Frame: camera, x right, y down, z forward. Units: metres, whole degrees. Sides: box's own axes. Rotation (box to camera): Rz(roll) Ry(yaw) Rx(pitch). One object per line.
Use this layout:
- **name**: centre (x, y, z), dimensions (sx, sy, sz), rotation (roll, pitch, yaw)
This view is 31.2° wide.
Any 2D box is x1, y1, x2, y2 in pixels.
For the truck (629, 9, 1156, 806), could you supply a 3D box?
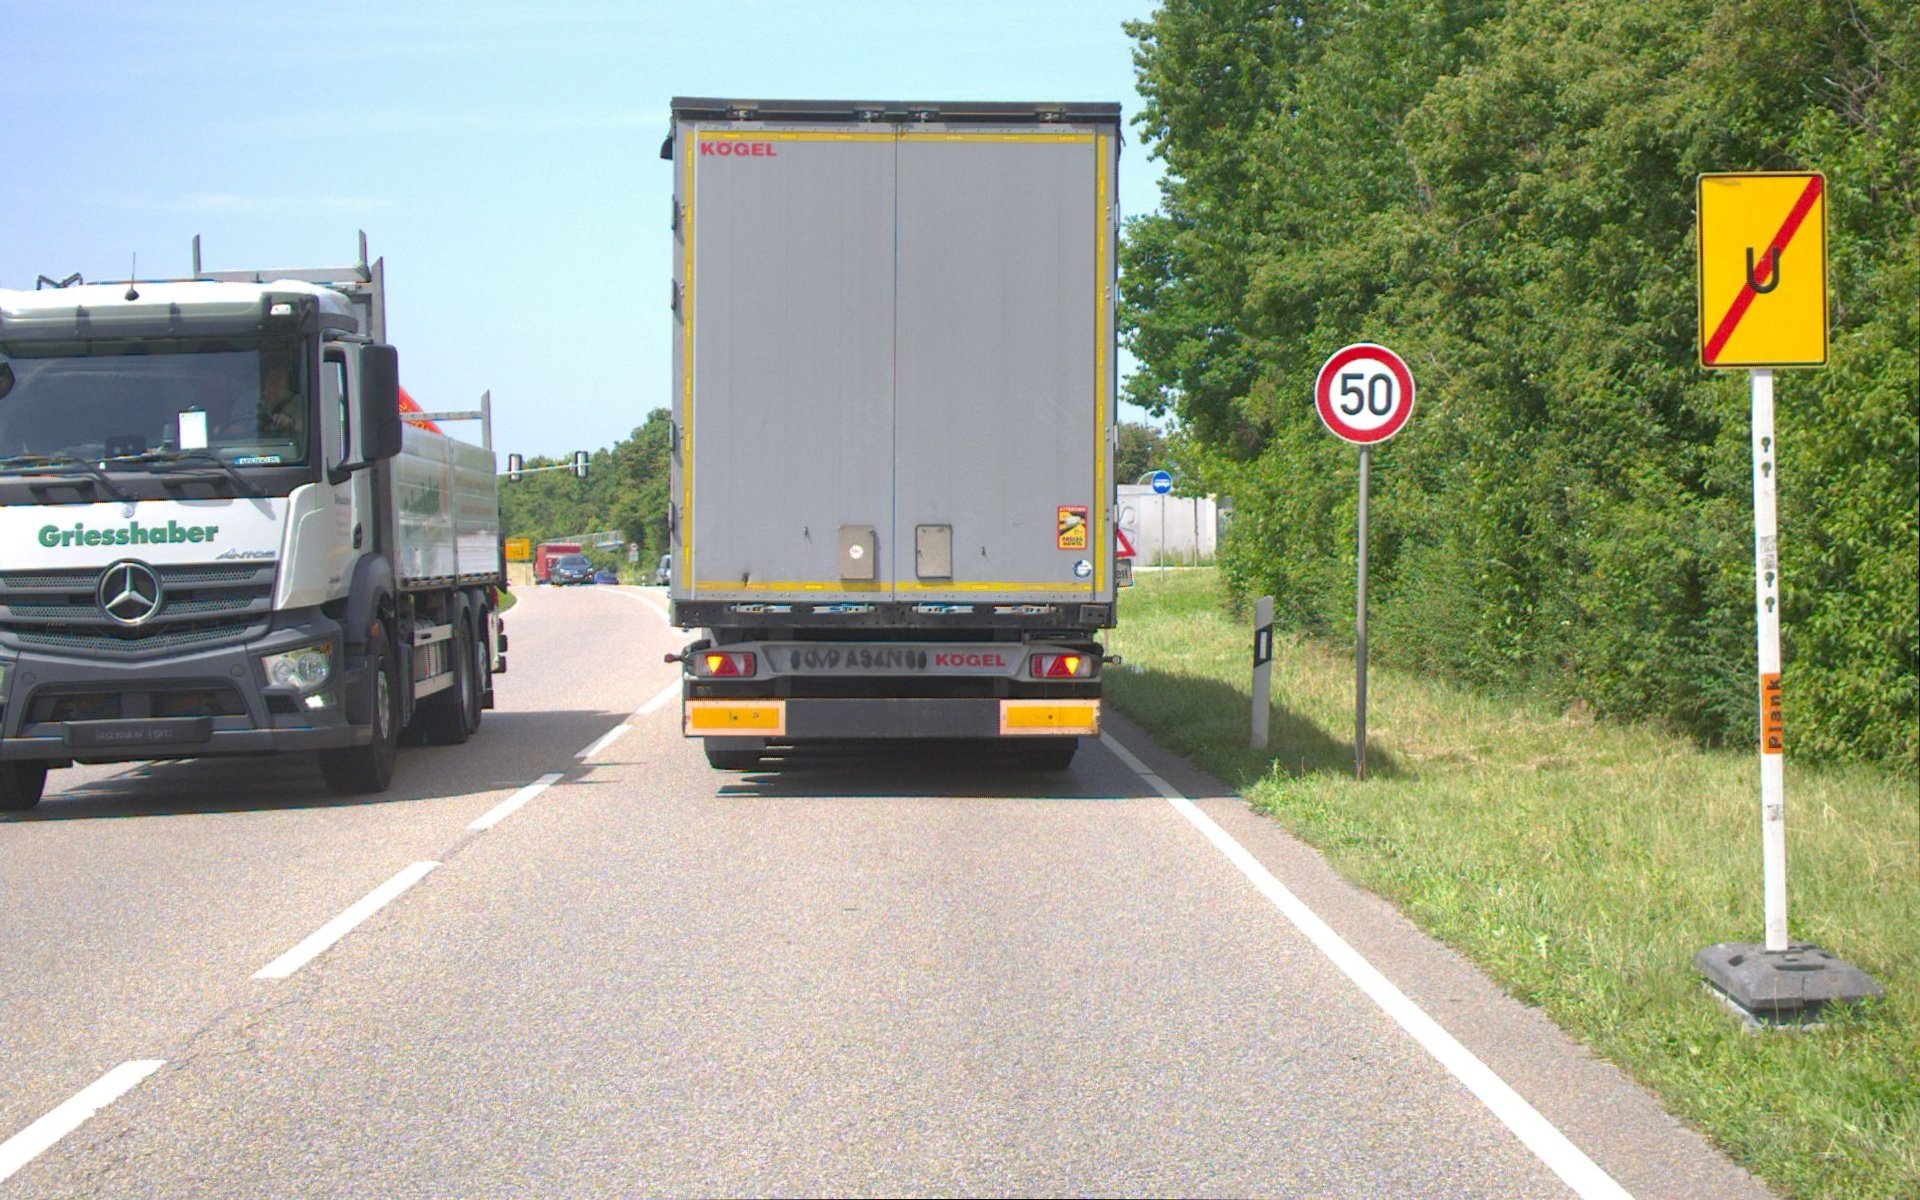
- **truck**: centre (-0.667, -1.151, 23.472), dimensions (2.906, 4.394, 8.861), rotation (0, 1, -4)

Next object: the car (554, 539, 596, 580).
- **car**: centre (-19.523, -2.049, 174.571), dimensions (1.993, 1.943, 4.503), rotation (-3, 1, -6)

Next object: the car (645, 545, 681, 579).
- **car**: centre (-16.565, -2.118, 191.518), dimensions (1.892, 1.771, 4.387), rotation (-3, 1, -5)

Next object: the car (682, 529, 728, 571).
- **car**: centre (-12.927, -2.527, 174.241), dimensions (2.171, 2.007, 4.527), rotation (-3, 1, -5)

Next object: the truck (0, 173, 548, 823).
- **truck**: centre (-4.961, -0.668, 24.885), dimensions (2.756, 3.564, 11.066), rotation (-3, 1, -2)
